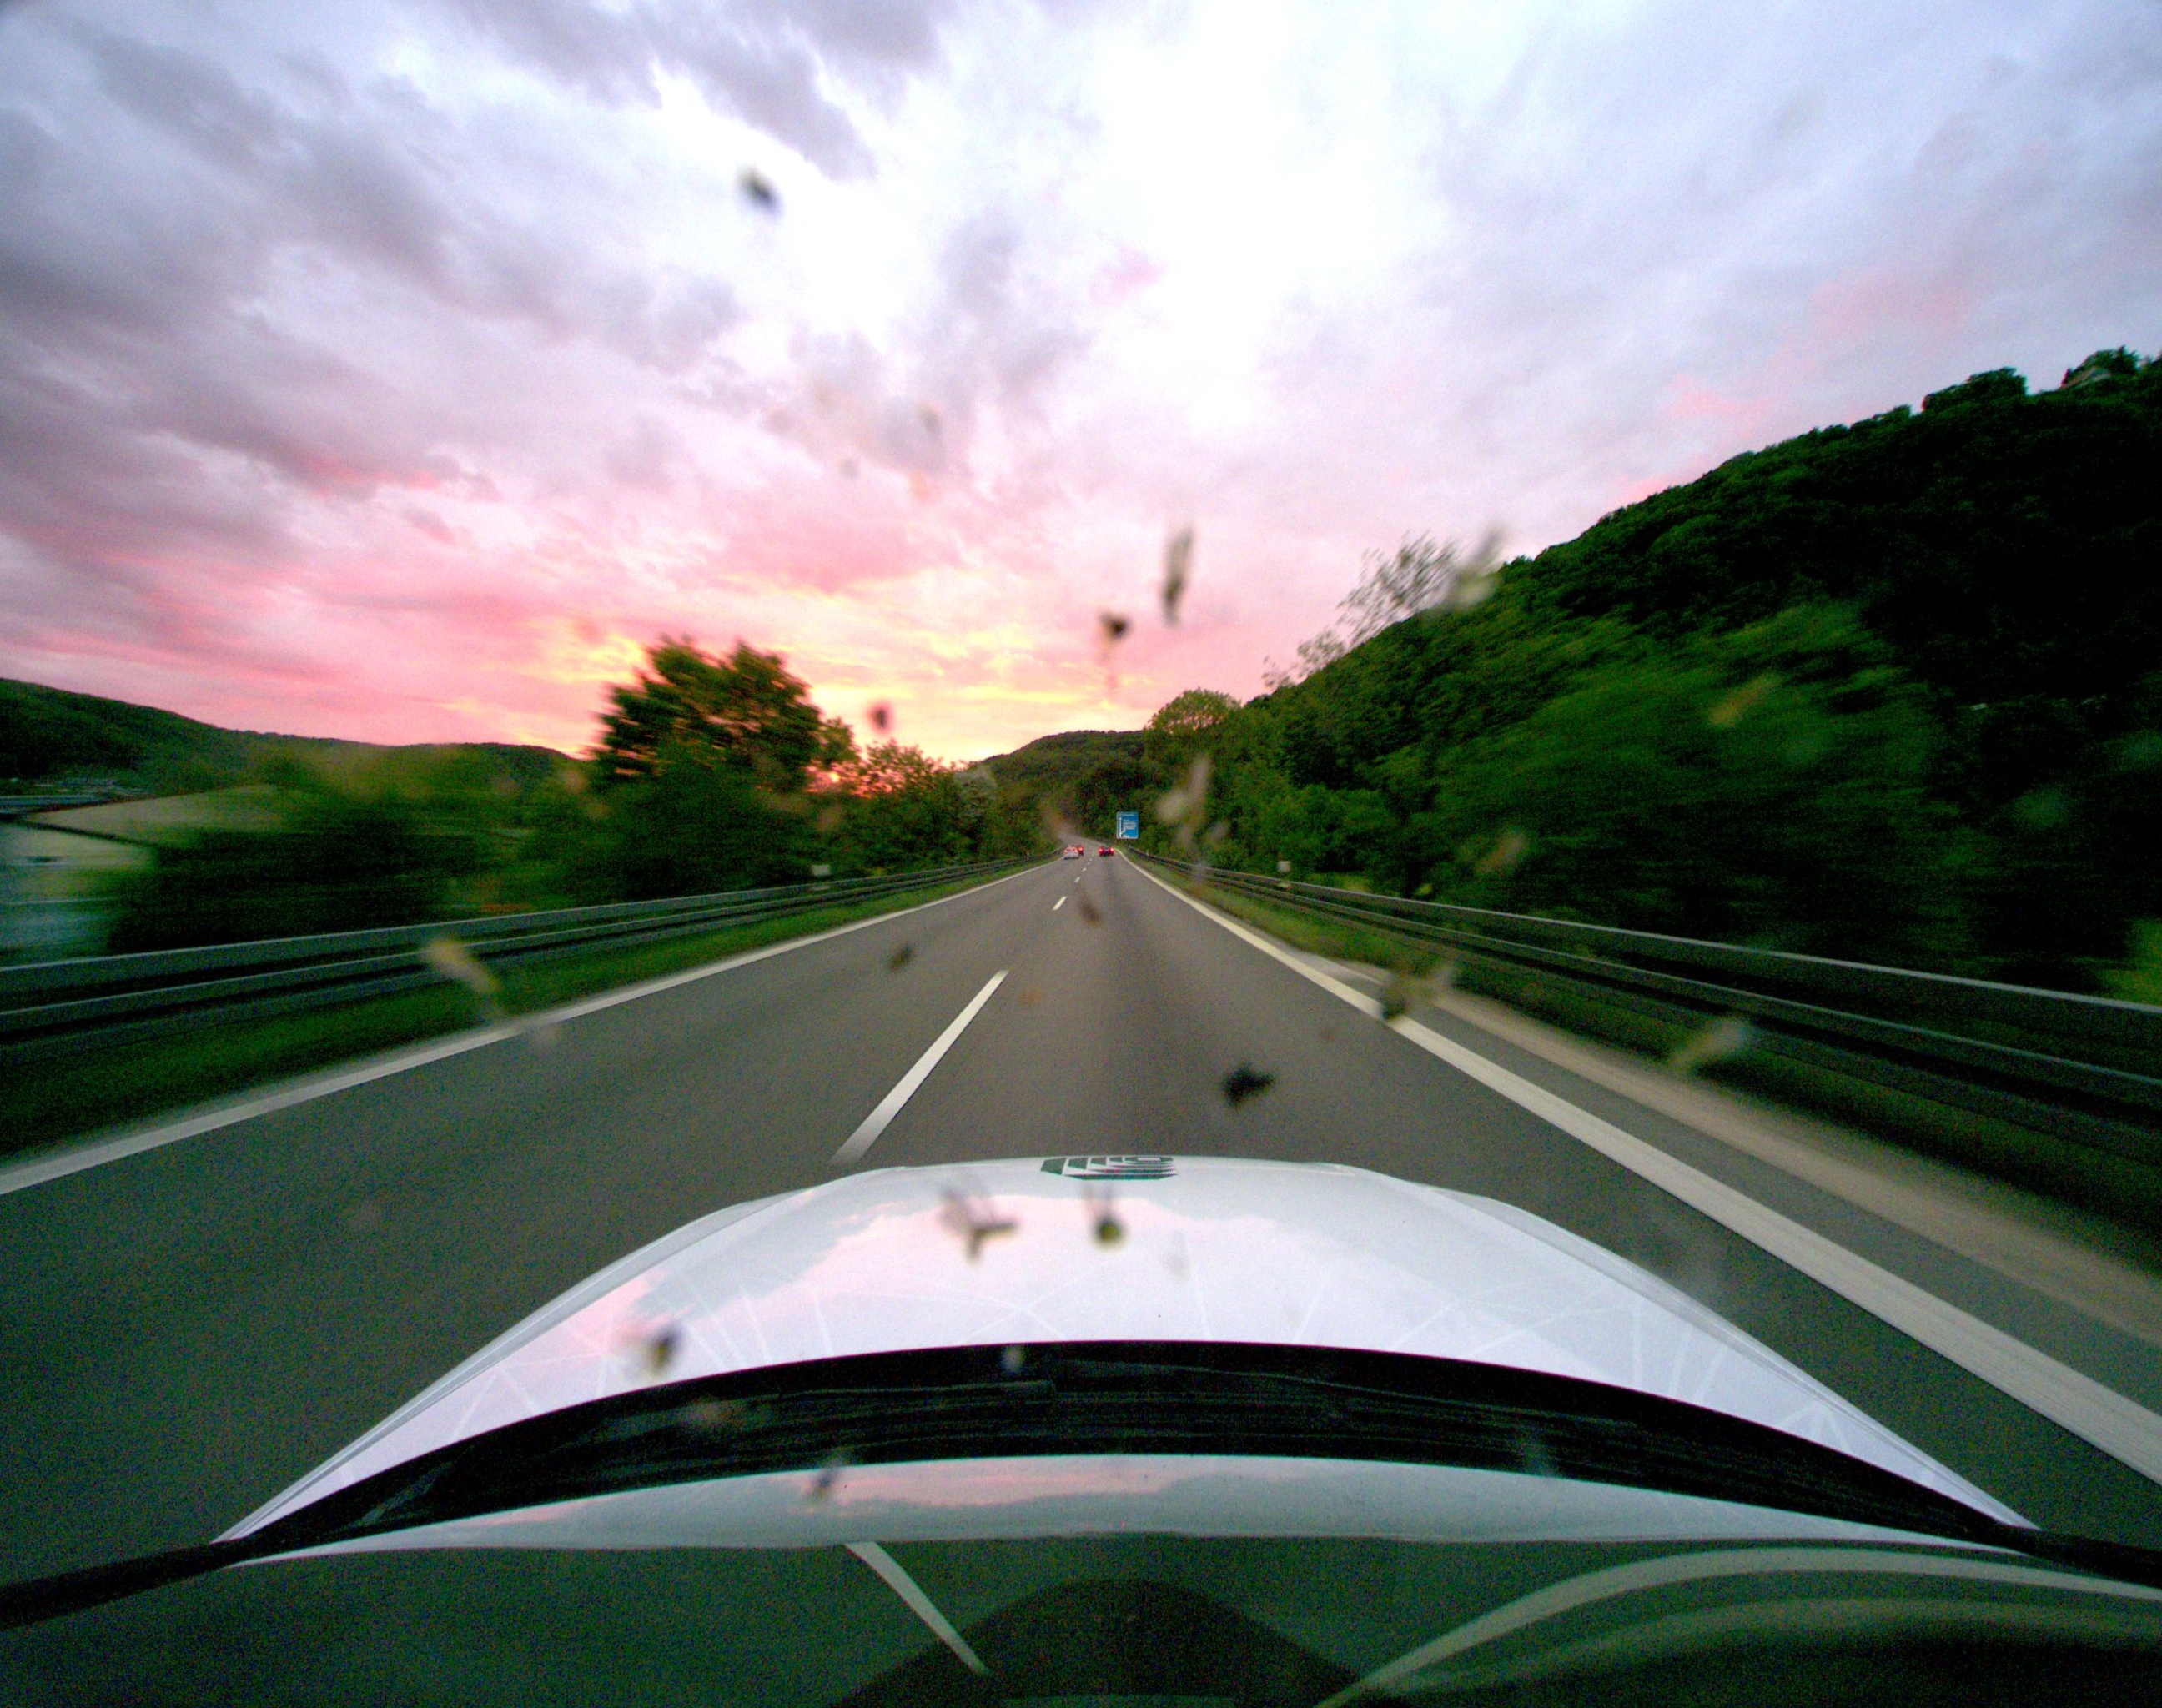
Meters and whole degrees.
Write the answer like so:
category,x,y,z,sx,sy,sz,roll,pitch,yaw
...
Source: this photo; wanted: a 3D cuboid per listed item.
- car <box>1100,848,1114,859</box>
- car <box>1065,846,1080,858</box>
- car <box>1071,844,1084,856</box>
category,x,y,z,sx,sy,sz,roll,pitch,yaw
car,3.475,-0.083,109.155,1.871,1.466,4.001,-2,1,1
car,-1.036,-0.280,103.457,1.712,1.501,4.001,-2,1,1
car,-0.484,-0.635,116.509,1.712,1.635,4.001,-2,1,1
